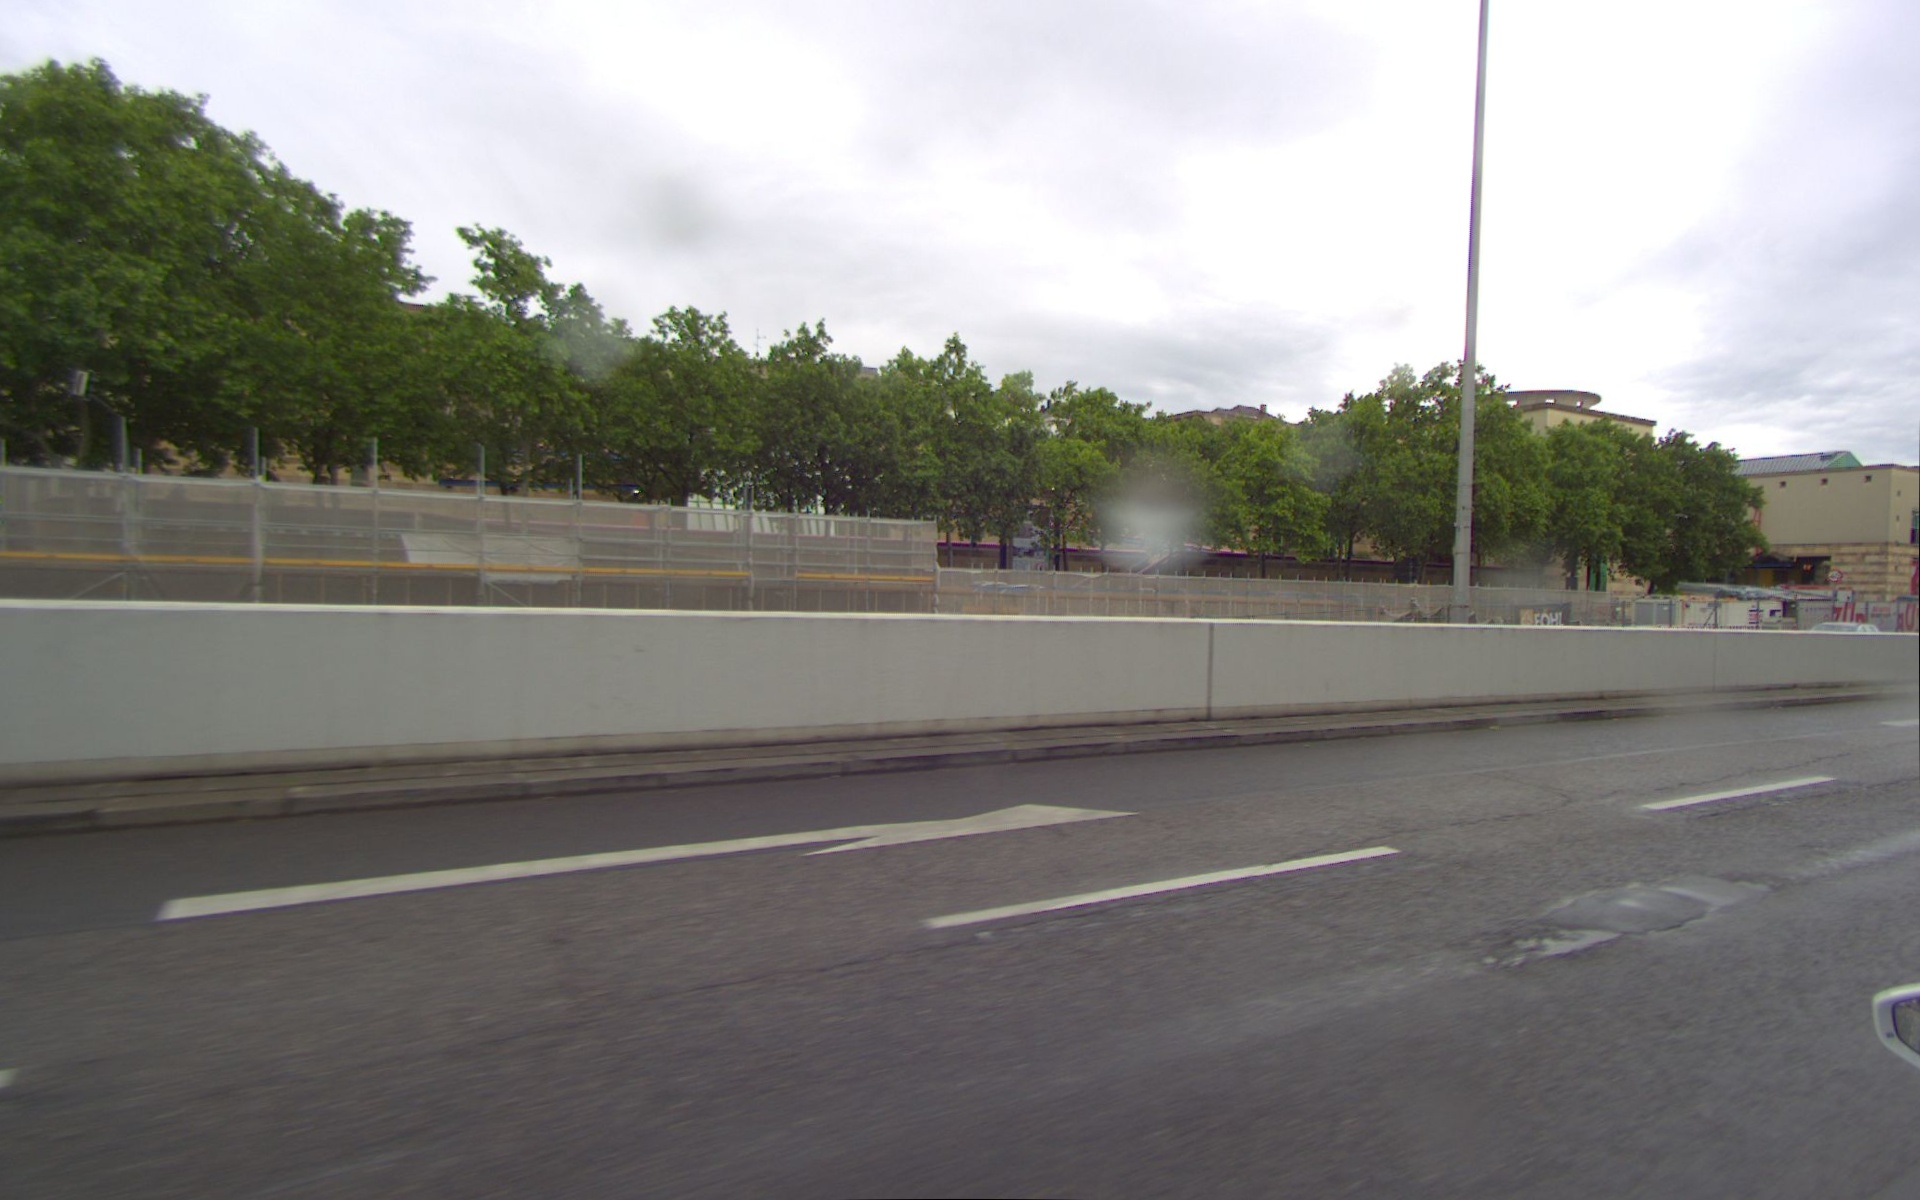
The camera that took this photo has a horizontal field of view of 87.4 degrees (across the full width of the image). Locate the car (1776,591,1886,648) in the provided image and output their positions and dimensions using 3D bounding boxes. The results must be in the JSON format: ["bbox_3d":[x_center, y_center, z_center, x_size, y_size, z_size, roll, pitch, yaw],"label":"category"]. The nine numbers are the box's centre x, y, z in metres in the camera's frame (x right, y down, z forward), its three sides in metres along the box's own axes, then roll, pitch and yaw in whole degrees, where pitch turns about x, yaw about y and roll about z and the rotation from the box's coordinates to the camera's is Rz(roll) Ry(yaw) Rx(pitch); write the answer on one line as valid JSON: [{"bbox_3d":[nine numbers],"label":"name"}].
[{"bbox_3d":[33.917,0.761,39.114,3.954,2.041,1.983,1,3,-31],"label":"car"}]
